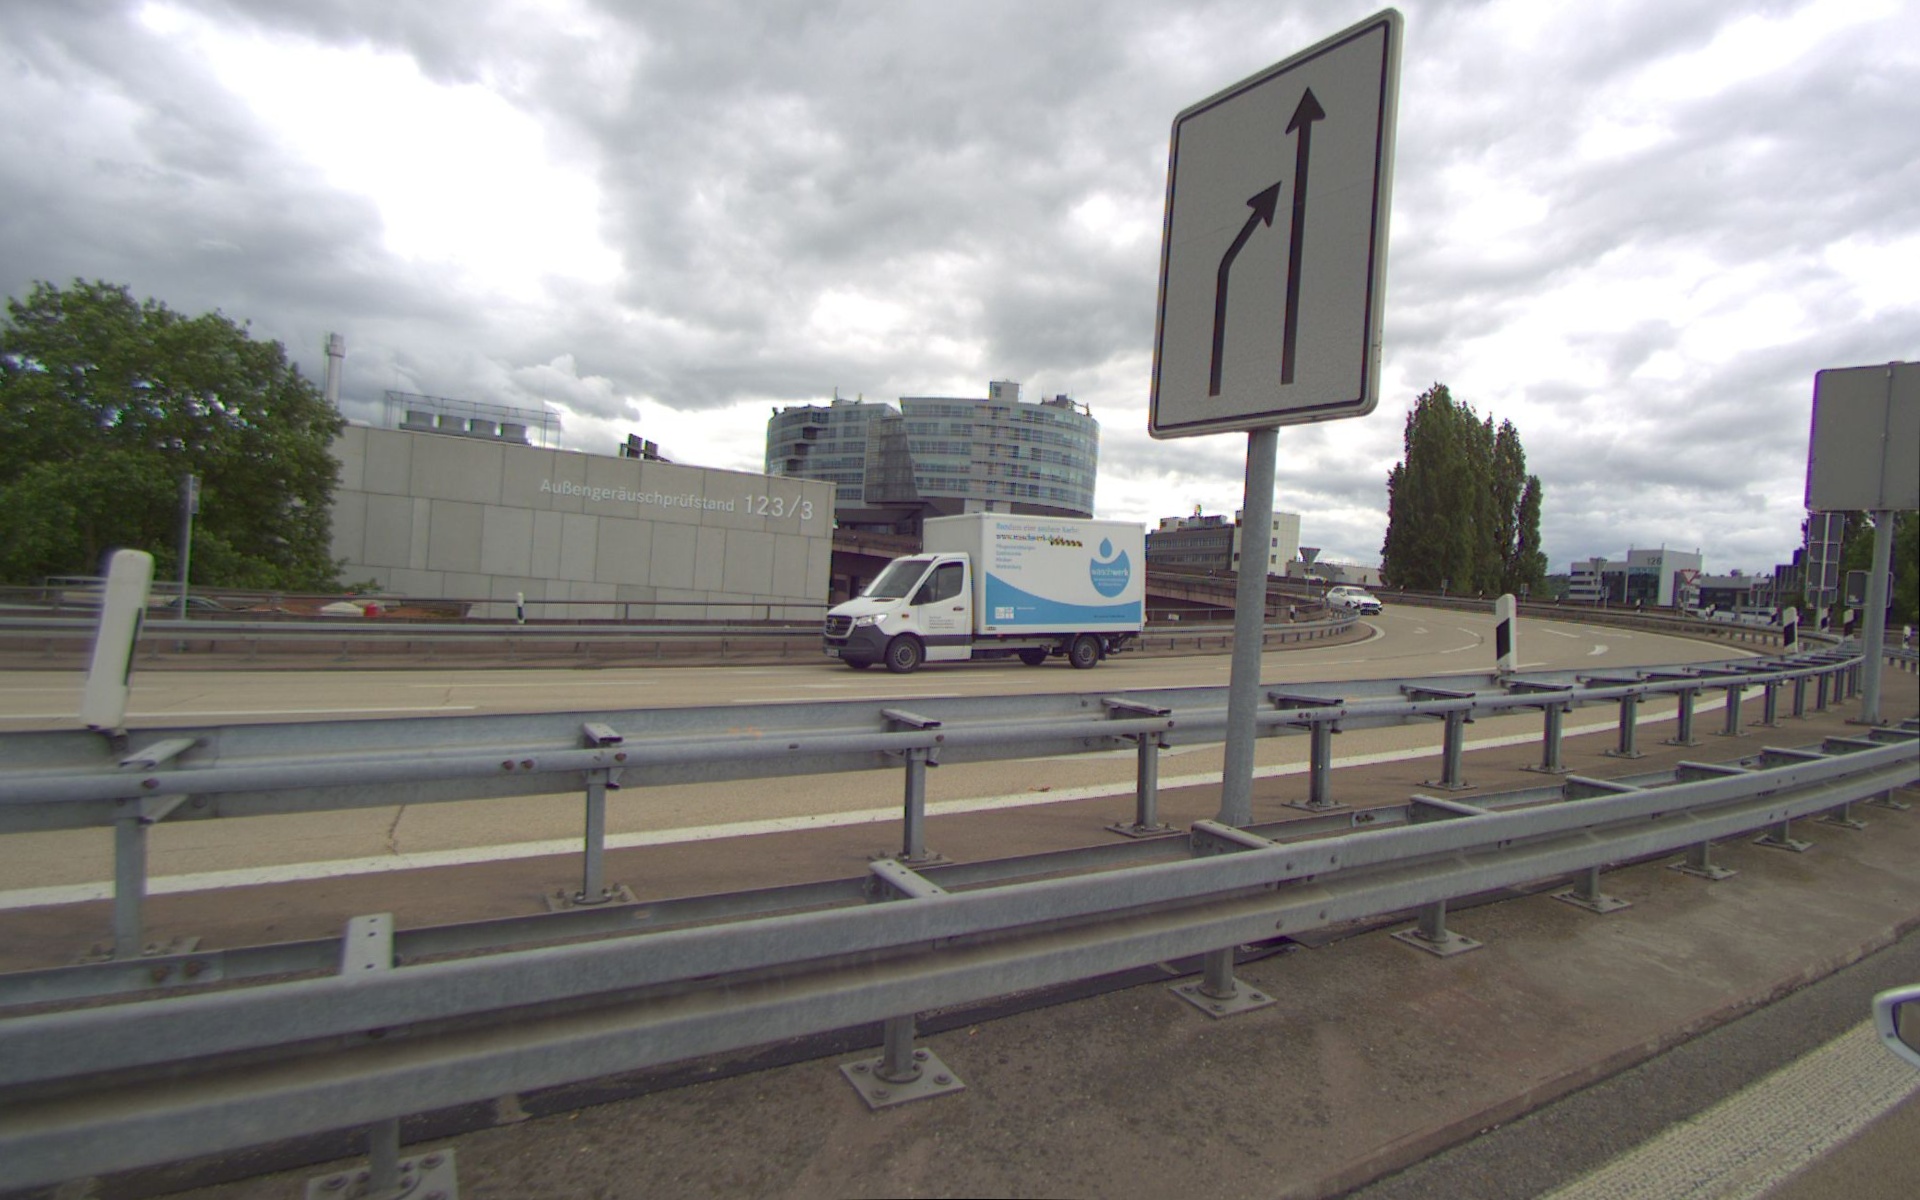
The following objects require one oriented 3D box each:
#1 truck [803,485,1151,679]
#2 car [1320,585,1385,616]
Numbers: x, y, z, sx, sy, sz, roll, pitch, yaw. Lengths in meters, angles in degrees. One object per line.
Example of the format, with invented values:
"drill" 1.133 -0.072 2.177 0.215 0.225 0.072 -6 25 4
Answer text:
"truck" 0.514 -0.256 20.104 6.924 3.307 2.330 1 0 -35
"car" 22.352 0.004 57.348 1.880 1.433 4.362 -2 4 -2
